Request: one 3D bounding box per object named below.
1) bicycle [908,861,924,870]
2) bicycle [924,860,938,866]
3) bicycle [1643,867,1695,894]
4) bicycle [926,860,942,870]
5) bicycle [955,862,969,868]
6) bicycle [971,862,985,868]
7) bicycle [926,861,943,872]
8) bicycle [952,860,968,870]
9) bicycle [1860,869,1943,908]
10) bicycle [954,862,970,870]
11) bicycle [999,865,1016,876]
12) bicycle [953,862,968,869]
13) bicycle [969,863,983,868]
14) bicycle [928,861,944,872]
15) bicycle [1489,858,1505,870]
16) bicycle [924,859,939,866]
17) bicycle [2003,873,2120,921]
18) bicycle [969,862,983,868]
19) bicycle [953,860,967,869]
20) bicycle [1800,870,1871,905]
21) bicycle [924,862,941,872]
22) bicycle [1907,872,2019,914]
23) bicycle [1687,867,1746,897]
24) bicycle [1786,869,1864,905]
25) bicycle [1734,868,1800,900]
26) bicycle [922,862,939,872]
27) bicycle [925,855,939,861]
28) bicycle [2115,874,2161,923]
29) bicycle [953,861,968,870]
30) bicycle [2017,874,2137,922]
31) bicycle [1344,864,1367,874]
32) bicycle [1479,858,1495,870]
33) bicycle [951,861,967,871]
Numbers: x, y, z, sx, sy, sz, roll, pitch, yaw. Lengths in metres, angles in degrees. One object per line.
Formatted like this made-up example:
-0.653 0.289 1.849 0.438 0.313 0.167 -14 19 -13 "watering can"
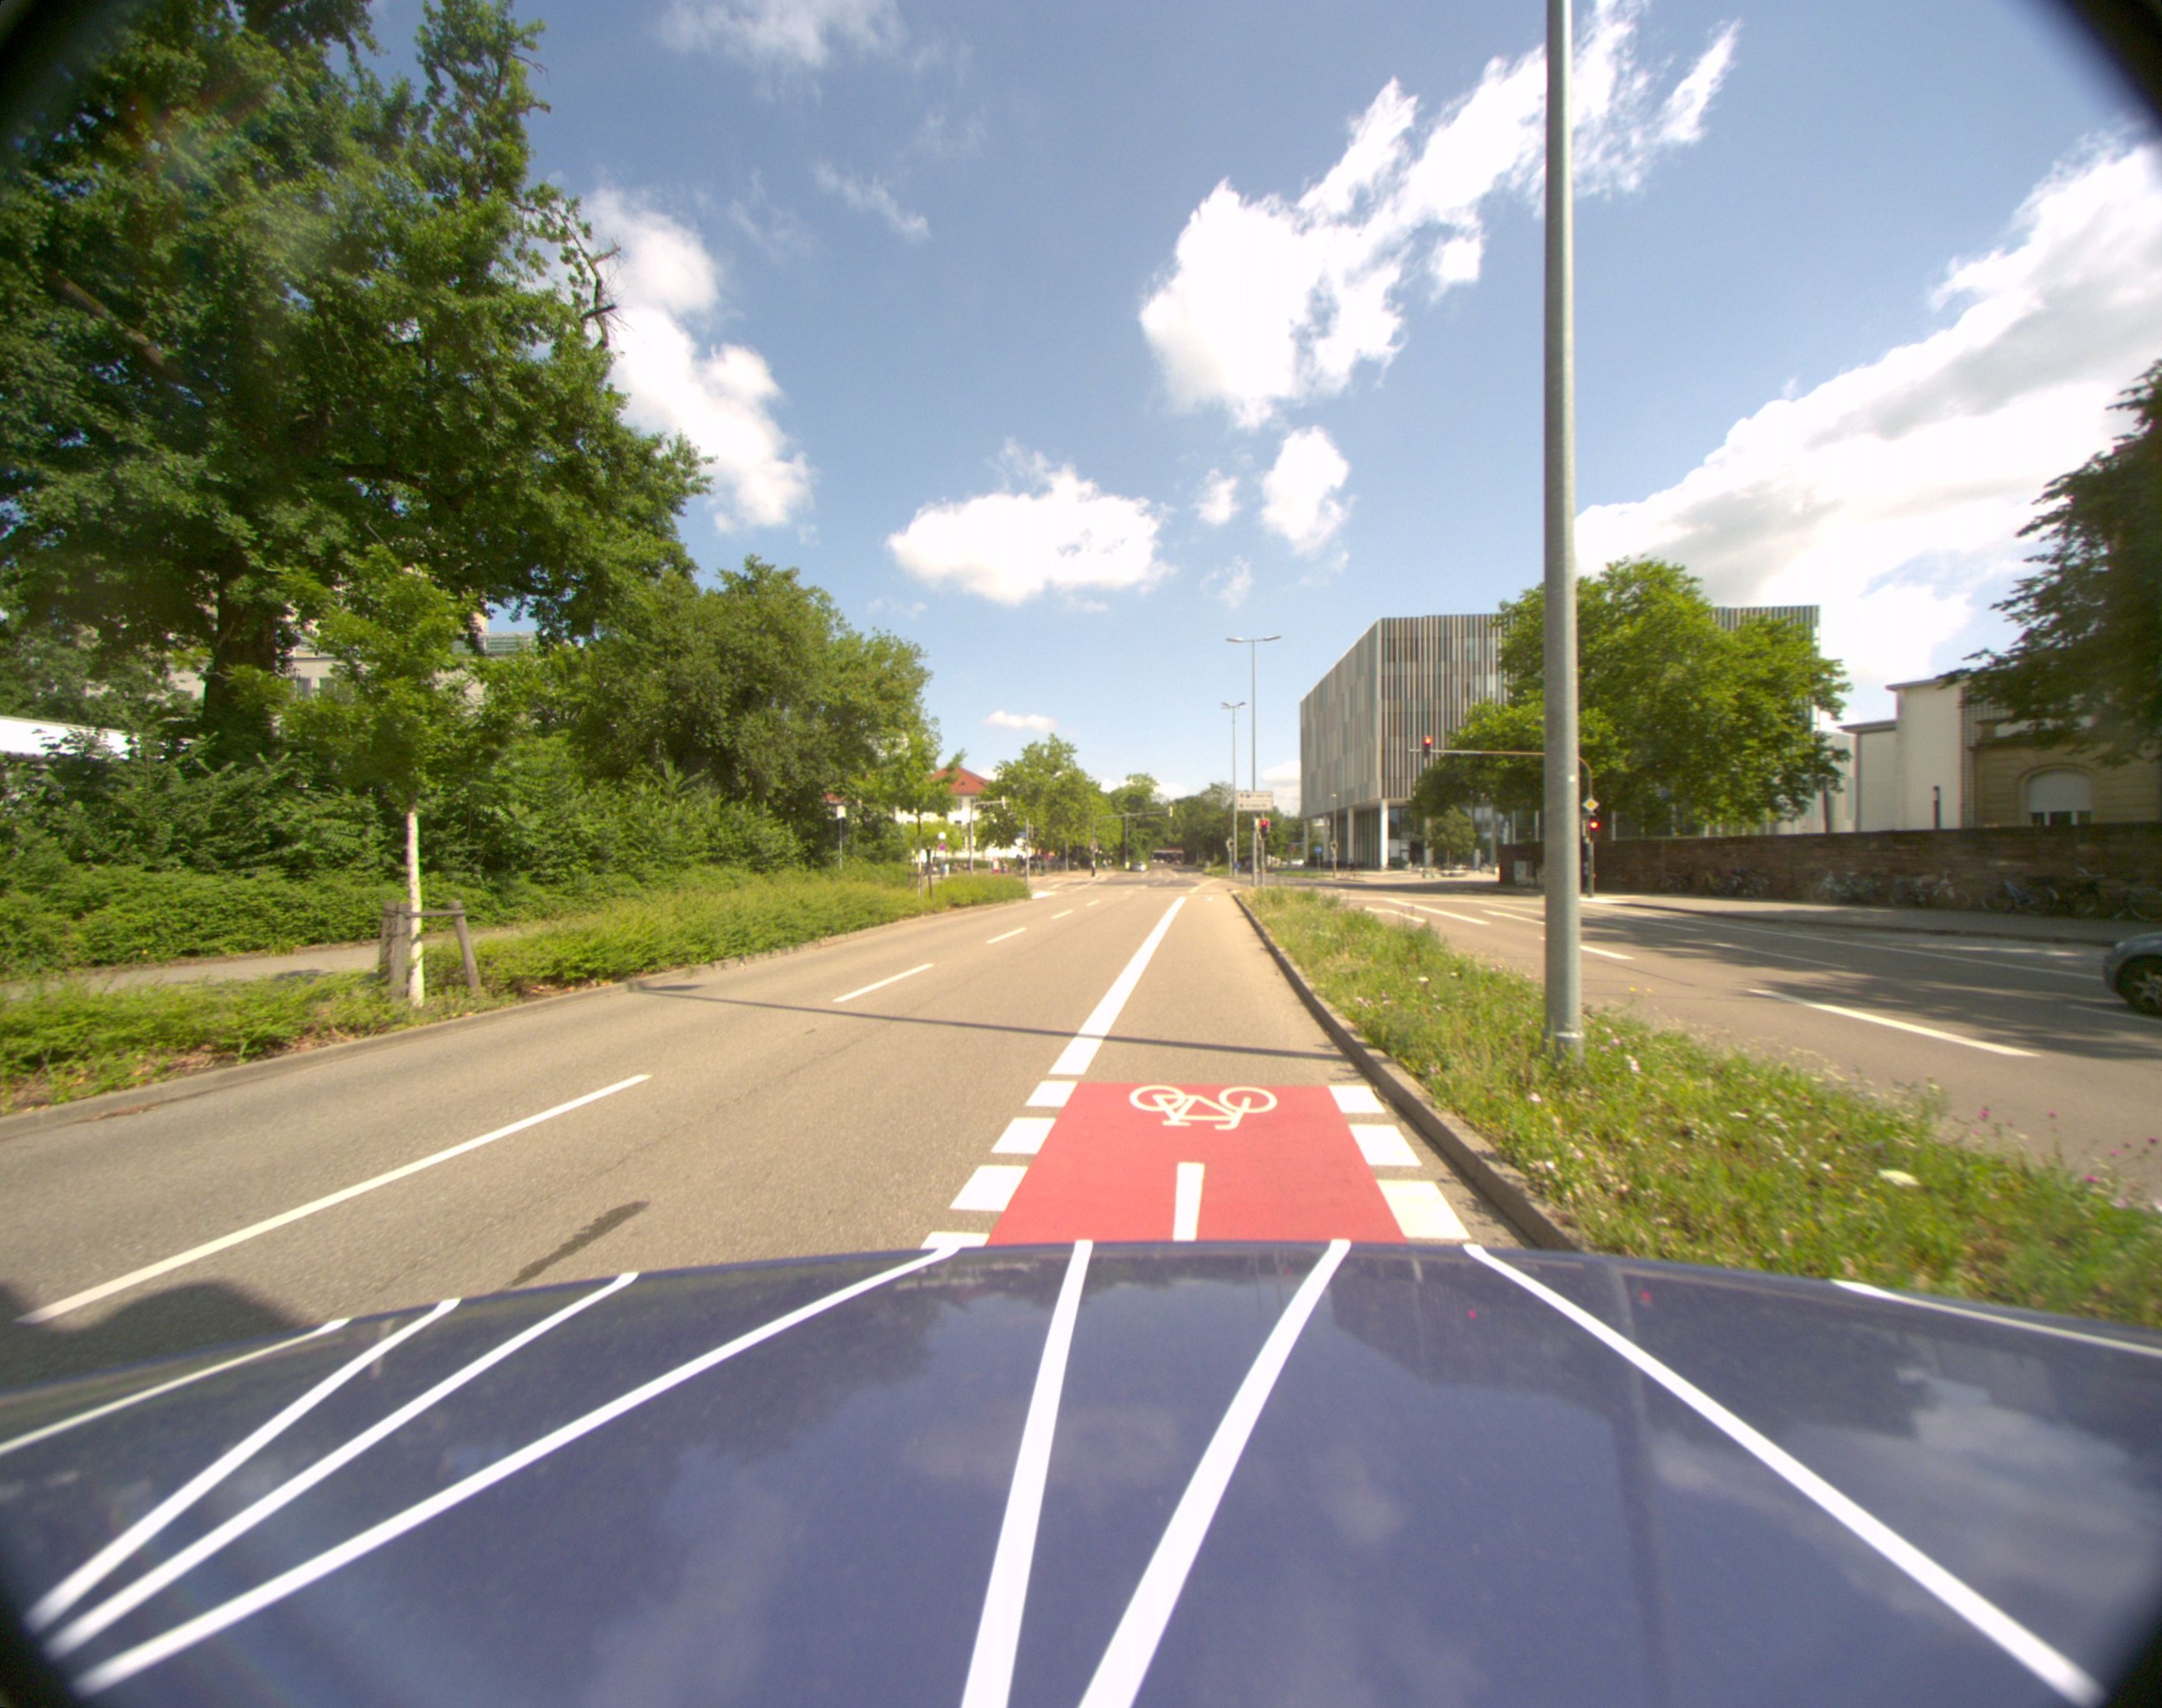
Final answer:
-19.131 1.308 88.159 1.671 1.090 0.627 0 0 1 "bicycle"
-18.946 1.135 95.931 1.671 0.785 0.627 0 0 1 "bicycle"
23.845 1.064 30.858 0.631 1.042 1.881 0 0 0 "bicycle"
-16.242 1.258 84.093 1.671 1.090 0.627 0 0 1 "bicycle"
-15.161 1.436 96.671 1.672 0.785 0.627 0 0 0 "bicycle"
-13.259 1.398 97.928 1.671 0.729 0.627 0 0 1 "bicycle"
-15.764 1.353 81.776 1.671 1.090 0.627 0 0 1 "bicycle"
-13.525 1.210 84.667 1.671 1.090 0.627 0 0 1 "bicycle"
23.847 0.987 22.118 0.371 1.042 1.881 0 0 0 "bicycle"
-13.561 1.374 86.566 1.671 0.979 0.627 0 0 1 "bicycle"
-5.972 1.335 61.494 0.621 0.828 1.510 -1 0 -41 "bicycle"
-15.213 1.436 95.939 1.672 0.785 0.627 0 0 0 "bicycle"
-13.252 1.448 95.820 1.671 0.729 0.627 0 0 1 "bicycle"
-15.726 1.360 82.463 1.671 1.090 0.627 0 0 1 "bicycle"
40.357 0.974 73.739 2.323 1.183 0.745 0 0 -44 "bicycle"
-19.035 1.083 96.701 1.671 0.785 0.627 0 0 1 "bicycle"
23.486 0.996 18.260 0.373 1.042 1.881 0 0 0 "bicycle"
-13.326 1.437 96.775 1.671 0.729 0.627 0 0 1 "bicycle"
-15.027 1.273 94.512 1.671 1.090 0.627 0 0 1 "bicycle"
23.894 1.044 24.092 0.371 1.042 1.881 0 0 0 "bicycle"
-15.831 1.369 80.928 1.671 1.090 0.627 0 0 1 "bicycle"
23.585 1.022 20.369 0.594 1.042 1.878 0 0 -16 "bicycle"
23.846 1.044 28.545 0.631 1.042 1.881 0 0 0 "bicycle"
23.267 1.003 23.803 0.593 1.042 1.881 0 0 0 "bicycle"
23.792 1.020 26.400 0.565 1.042 1.881 0 0 0 "bicycle"
-15.865 1.371 80.197 1.671 1.090 0.627 0 0 1 "bicycle"
-19.398 0.567 99.064 1.671 0.785 0.627 0 0 1 "bicycle"
23.844 0.985 16.369 0.581 1.042 1.881 0 0 0 "bicycle"
-13.603 1.337 85.784 1.671 1.029 0.627 0 0 1 "bicycle"
23.887 1.030 18.278 0.395 1.042 1.881 0 0 0 "bicycle"
23.473 1.276 65.019 1.770 0.887 0.639 0 0 41 "bicycle"
39.962 0.986 74.780 2.323 1.131 0.745 0 0 -44 "bicycle"
-13.448 1.286 83.650 1.671 1.090 0.627 0 0 1 "bicycle"
